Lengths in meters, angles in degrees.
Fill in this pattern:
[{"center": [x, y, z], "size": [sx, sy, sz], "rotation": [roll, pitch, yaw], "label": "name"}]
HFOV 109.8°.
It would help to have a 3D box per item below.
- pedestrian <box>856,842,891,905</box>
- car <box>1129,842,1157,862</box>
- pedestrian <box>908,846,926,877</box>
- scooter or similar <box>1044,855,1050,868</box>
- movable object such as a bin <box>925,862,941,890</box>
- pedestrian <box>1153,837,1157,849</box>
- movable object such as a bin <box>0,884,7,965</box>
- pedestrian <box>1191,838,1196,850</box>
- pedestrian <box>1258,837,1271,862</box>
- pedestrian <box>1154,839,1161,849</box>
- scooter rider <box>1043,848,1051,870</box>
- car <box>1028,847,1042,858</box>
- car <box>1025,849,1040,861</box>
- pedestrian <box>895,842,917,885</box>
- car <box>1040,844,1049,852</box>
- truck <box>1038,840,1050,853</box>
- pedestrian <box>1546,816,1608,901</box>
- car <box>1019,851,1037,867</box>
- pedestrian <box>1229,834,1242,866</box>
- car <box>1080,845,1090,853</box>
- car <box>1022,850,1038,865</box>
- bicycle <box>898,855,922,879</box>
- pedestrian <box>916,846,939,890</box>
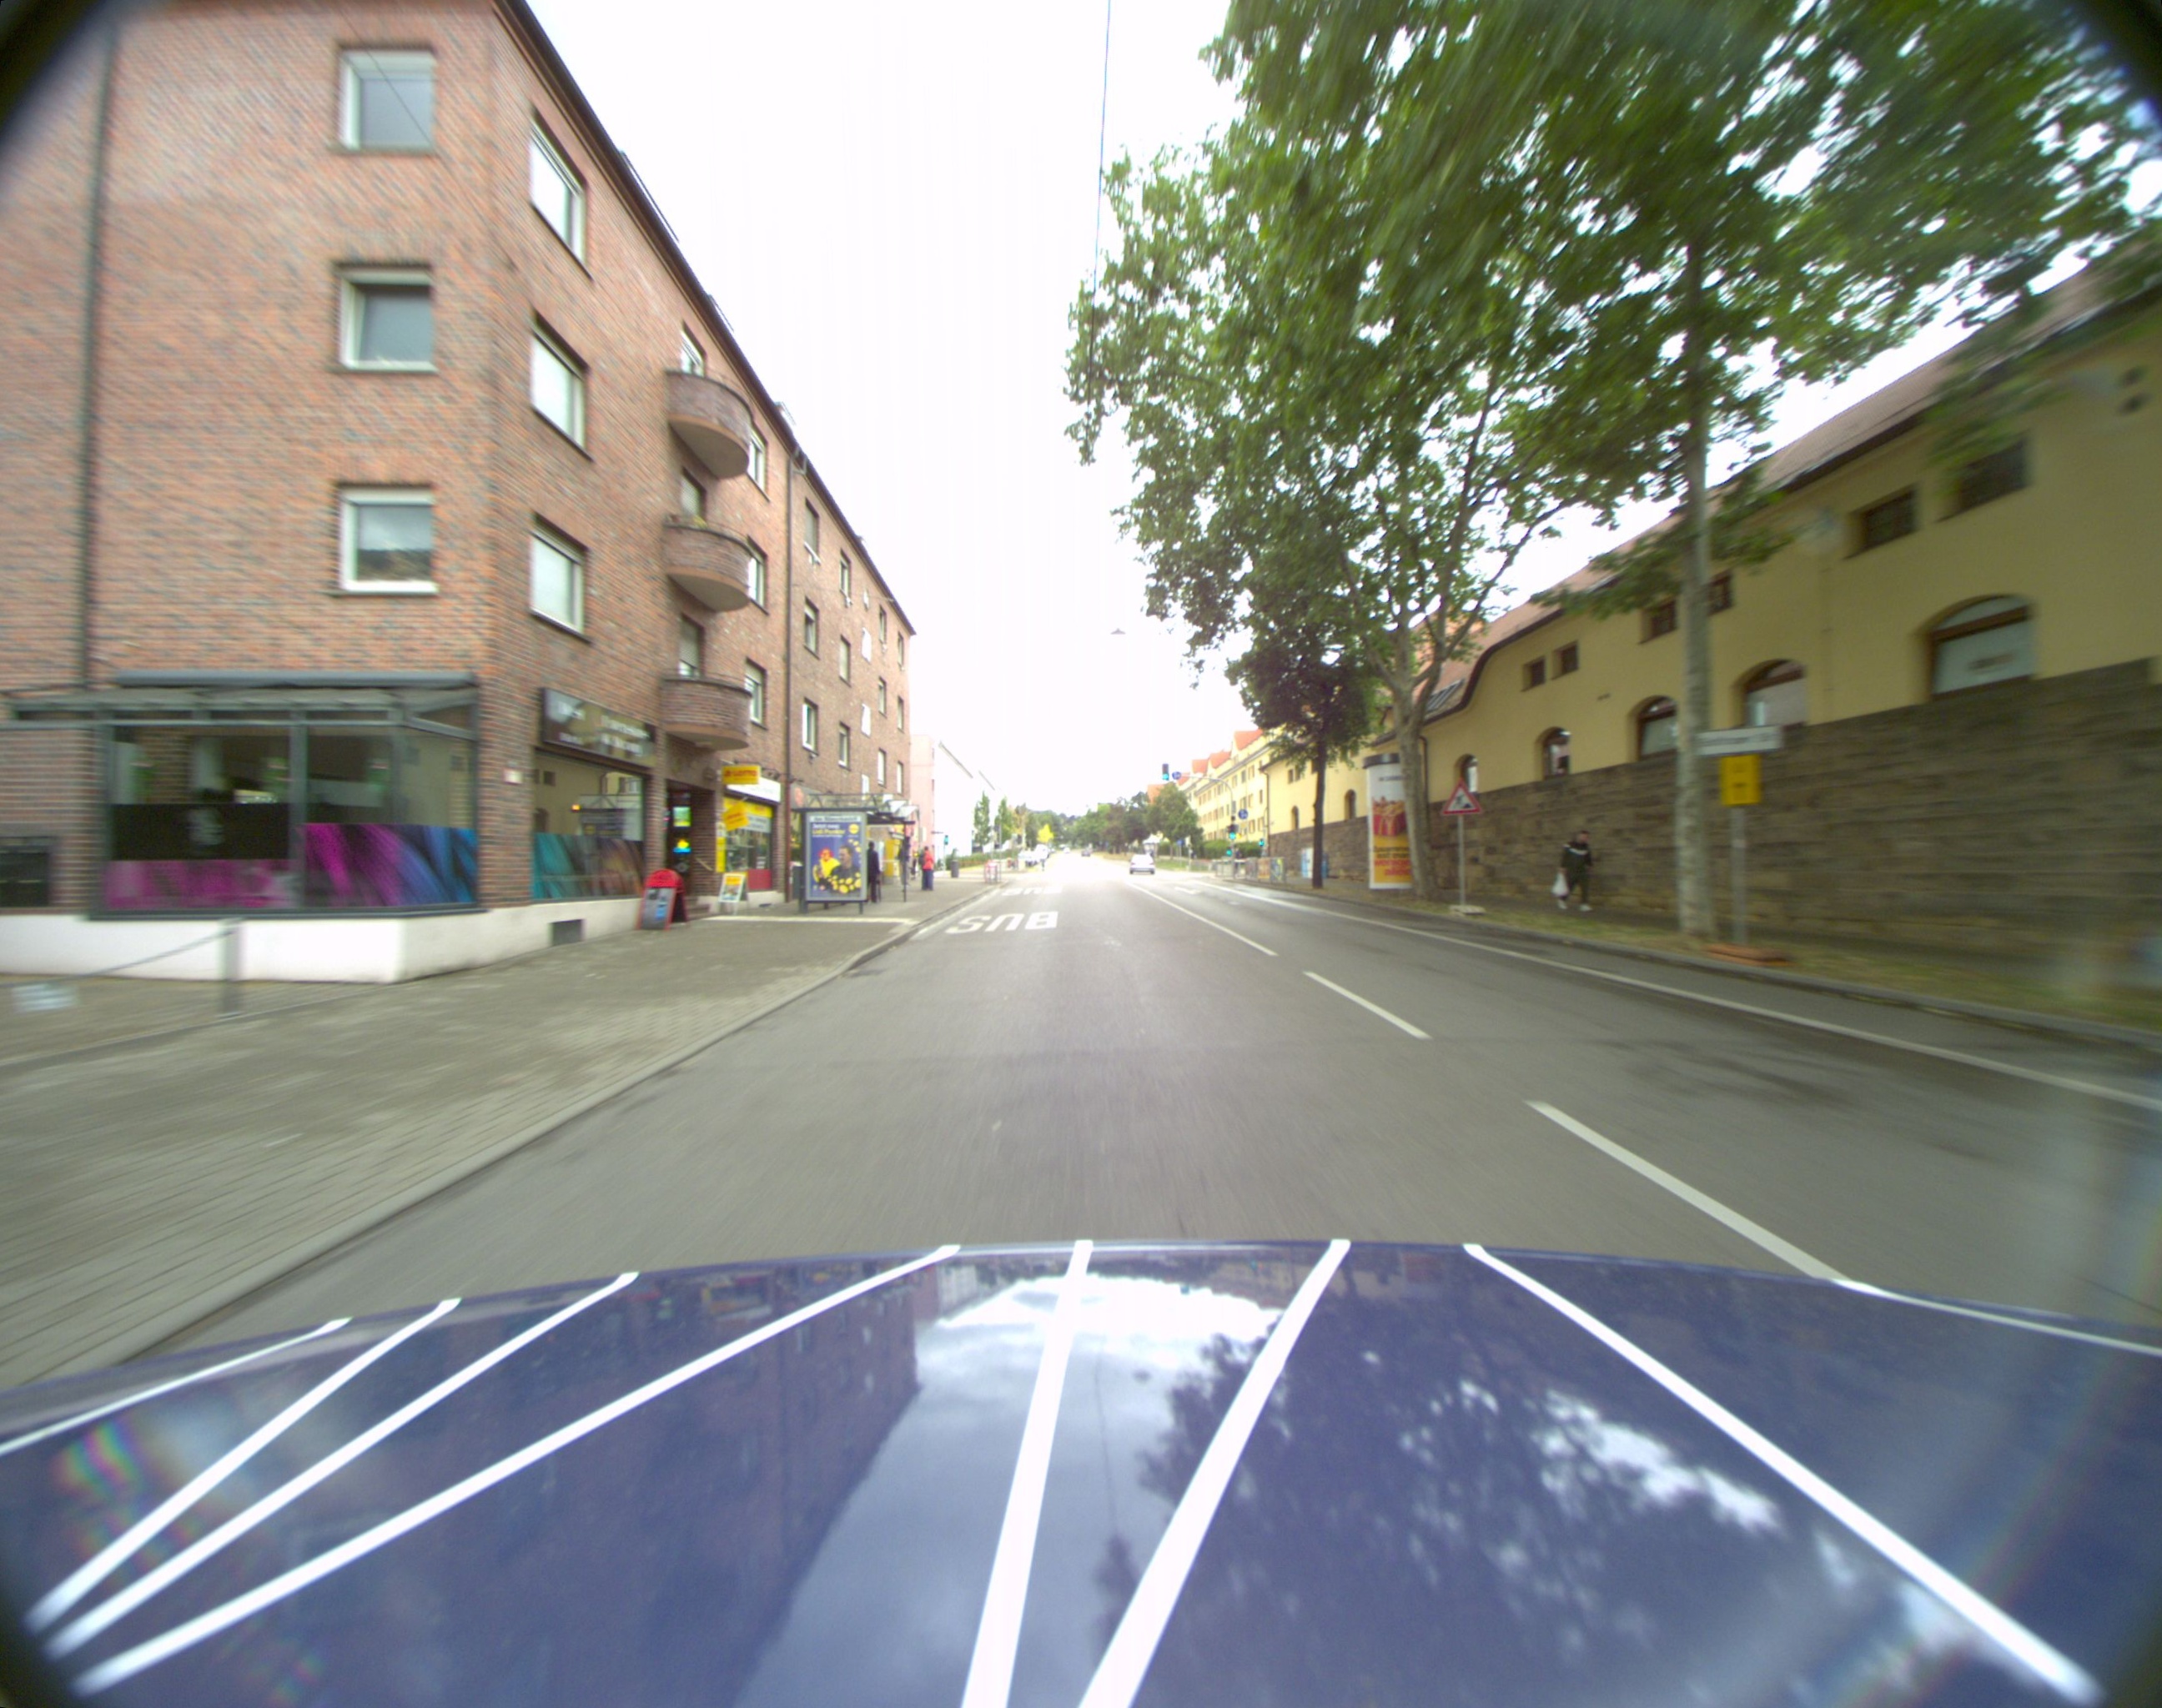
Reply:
[{"center": [-5.712, 0.523, 20.941], "size": [0.671, 1.718, 0.764], "rotation": [-1, 1, 4], "label": "pedestrian"}, {"center": [4.307, -0.185, 53.455], "size": [1.689, 1.268, 4.094], "rotation": [2, 1, 1], "label": "car"}, {"center": [-8.849, 0.393, 41.006], "size": [0.790, 1.646, 0.772], "rotation": [2, 1, -1], "label": "pedestrian"}, {"center": [-3.128, 0.647, 69.484], "size": [0.492, 1.156, 2.074], "rotation": [-1, 1, -2], "label": "scooter or similar"}, {"center": [-5.579, 0.818, 28.652], "size": [0.453, 1.050, 0.411], "rotation": [0, 1, 19], "label": "movable object such as a bin"}, {"center": [10.942, -1.569, 112.150], "size": [0.599, 1.717, 0.861], "rotation": [-1, 1, 2], "label": "pedestrian"}, {"center": [-14.041, 0.904, 9.442], "size": [0.526, 1.028, 0.573], "rotation": [-1, 1, 1], "label": "movable object such as a bin"}, {"center": [14.813, -1.307, 100.105], "size": [0.642, 1.610, 0.617], "rotation": [-1, 1, -2], "label": "pedestrian"}, {"center": [11.476, -0.266, 47.567], "size": [0.565, 1.557, 0.842], "rotation": [-1, 1, -2], "label": "pedestrian"}, {"center": [11.489, -1.535, 114.562], "size": [0.901, 1.501, 0.806], "rotation": [-2, 1, 0], "label": "pedestrian"}, {"center": [-3.103, 0.492, 69.562], "size": [0.627, 2.002, 0.757], "rotation": [-1, 1, -2], "label": "scooter rider"}, {"center": [-6.191, -0.243, 102.176], "size": [1.735, 1.405, 4.498], "rotation": [-2, 1, -2], "label": "car"}, {"center": [-6.171, 0.112, 96.623], "size": [1.750, 1.459, 4.947], "rotation": [-2, 1, -2], "label": "car"}, {"center": [-7.201, 0.389, 31.363], "size": [0.649, 1.740, 0.778], "rotation": [-1, 1, 4], "label": "pedestrian"}, {"center": [-6.616, -1.110, 138.121], "size": [1.529, 1.477, 3.725], "rotation": [-2, 1, -2], "label": "car"}, {"center": [-6.988, -1.429, 143.699], "size": [2.058, 2.551, 5.687], "rotation": [-1, 1, -2], "label": "truck"}, {"center": [10.811, 0.093, 16.588], "size": [0.779, 1.784, 0.874], "rotation": [-1, 1, -1], "label": "pedestrian"}, {"center": [-5.894, 0.511, 84.920], "size": [1.739, 1.579, 4.570], "rotation": [-2, 1, -2], "label": "car"}, {"center": [8.589, -0.246, 42.277], "size": [0.565, 1.767, 0.842], "rotation": [-1, 1, -1], "label": "pedestrian"}, {"center": [0.787, -1.054, 157.981], "size": [1.761, 1.464, 4.305], "rotation": [2, 1, -2], "label": "car"}, {"center": [-6.010, 0.408, 90.748], "size": [1.663, 1.706, 4.550], "rotation": [-2, 1, -1], "label": "car"}, {"center": [-9.230, 0.683, 41.115], "size": [0.762, 1.186, 2.391], "rotation": [-1, 1, -1], "label": "bicycle"}, {"center": [-5.729, 0.501, 28.367], "size": [0.565, 1.627, 0.682], "rotation": [0, 1, 19], "label": "pedestrian"}]
